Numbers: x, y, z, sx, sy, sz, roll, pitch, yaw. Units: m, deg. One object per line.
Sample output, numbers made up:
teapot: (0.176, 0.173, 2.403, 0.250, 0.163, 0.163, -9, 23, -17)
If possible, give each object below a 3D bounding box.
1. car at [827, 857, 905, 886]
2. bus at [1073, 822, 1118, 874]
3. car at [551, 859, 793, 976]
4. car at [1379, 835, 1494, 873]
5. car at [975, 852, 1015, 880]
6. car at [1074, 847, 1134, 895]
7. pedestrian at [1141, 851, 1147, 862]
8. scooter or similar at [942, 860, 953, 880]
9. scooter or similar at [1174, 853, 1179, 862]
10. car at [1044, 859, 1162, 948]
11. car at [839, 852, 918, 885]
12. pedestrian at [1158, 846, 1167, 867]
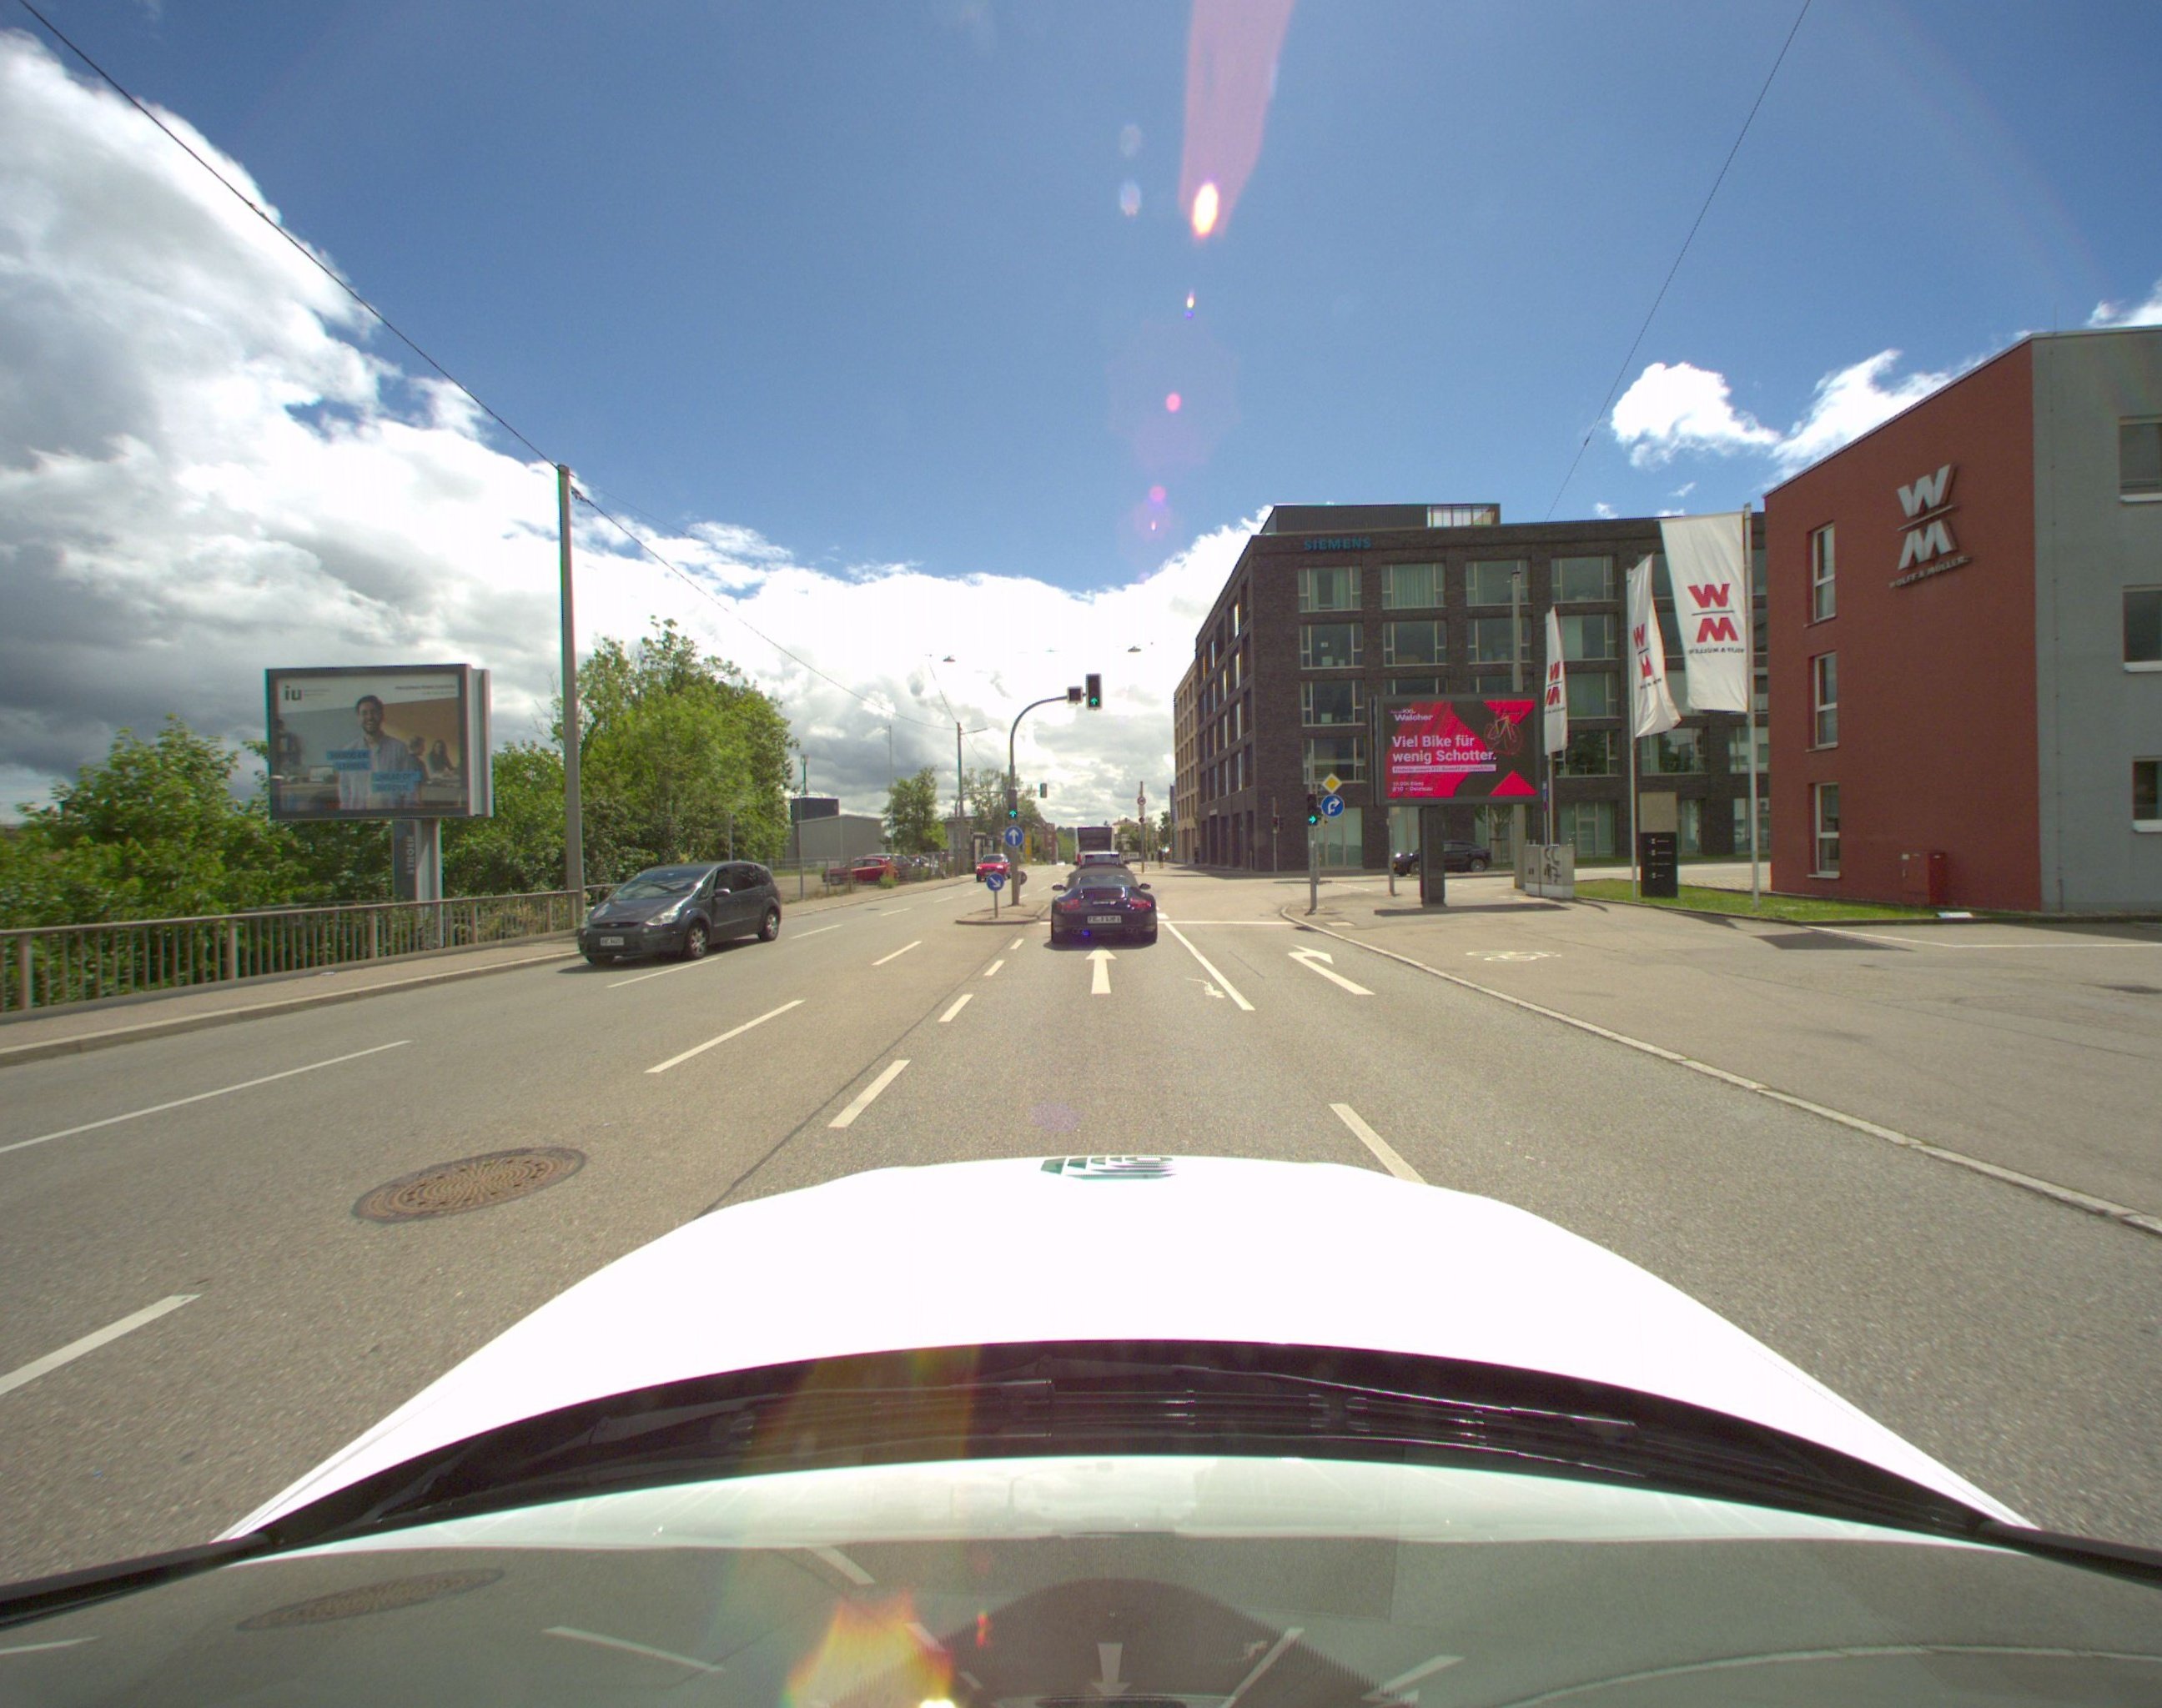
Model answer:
car: (-11.640, 0.942, 44.299, 3.849, 1.419, 1.897, -2, 0, -8)
bus: (1.147, -0.430, 57.536, 2.791, 3.198, 12.202, -1, 0, 2)
car: (-7.115, 0.992, 14.832, 1.904, 1.702, 4.627, -1, 0, 2)
car: (16.899, -0.017, 38.888, 4.624, 1.618, 2.000, -2, 0, 0)
car: (-5.232, 0.677, 49.789, 1.834, 1.596, 4.002, -1, 0, 2)
car: (0.761, 0.574, 29.739, 1.925, 1.583, 4.205, -1, 0, -1)
pedestrian: (8.977, 0.407, 116.528, 0.685, 1.536, 0.856, -2, -1, 0)
scooter or similar: (-8.389, 0.988, 51.227, 0.421, 1.210, 1.128, 0, 0, 5)
scooter or similar: (11.513, 0.431, 98.221, 0.425, 1.153, 1.403, -2, -1, 0)
car: (0.425, 0.828, 15.526, 1.923, 1.376, 4.210, -1, 0, 2)
car: (-11.656, 0.795, 47.078, 4.094, 1.734, 1.997, -2, 0, -4)
pedestrian: (6.873, 0.211, 68.750, 0.681, 1.728, 0.962, -1, 0, 0)
